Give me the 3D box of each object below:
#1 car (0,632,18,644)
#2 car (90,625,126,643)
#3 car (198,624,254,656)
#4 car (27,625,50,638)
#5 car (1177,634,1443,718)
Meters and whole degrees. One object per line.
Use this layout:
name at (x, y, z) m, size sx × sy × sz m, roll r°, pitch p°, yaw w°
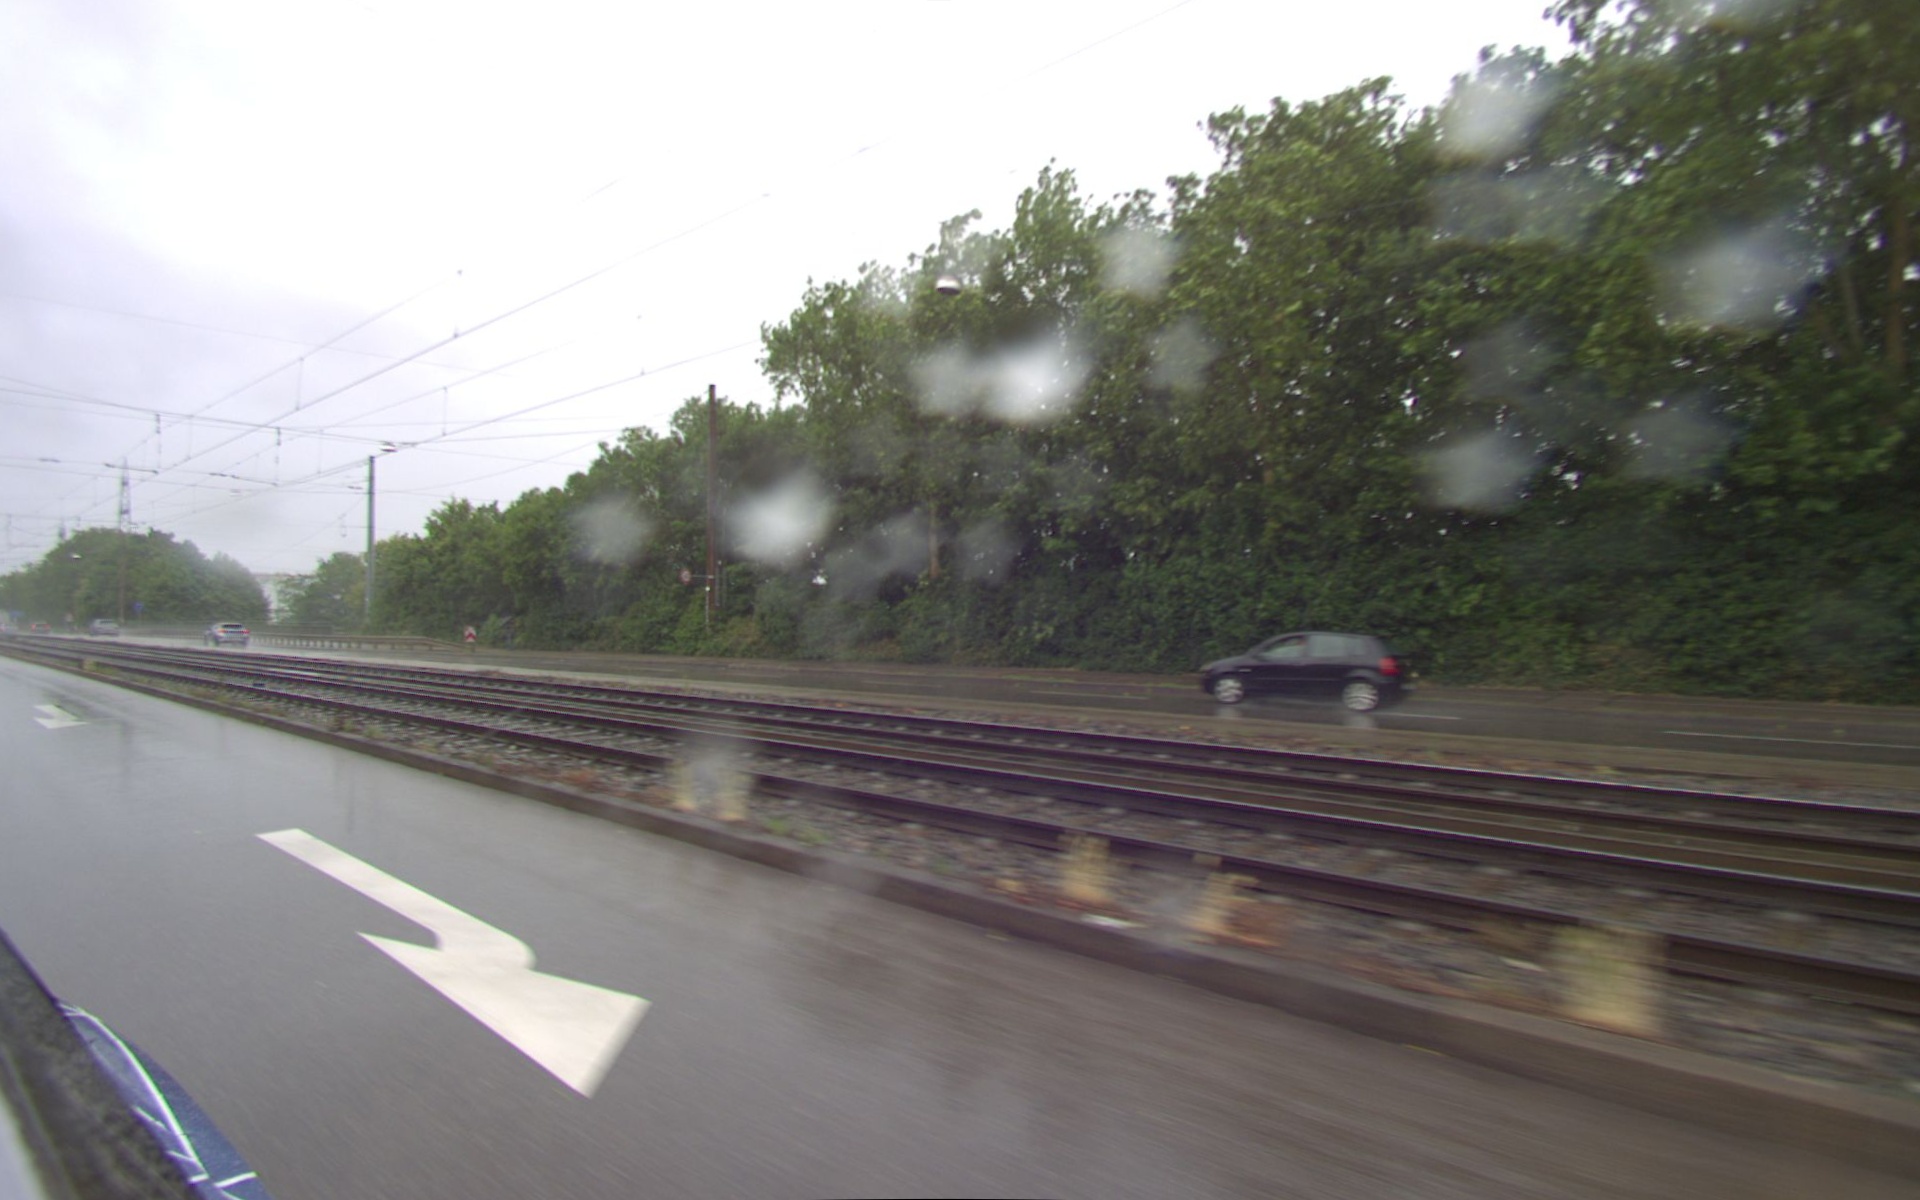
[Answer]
car at (-117.209, 4.686, 124.082) m, size 4.851 × 1.399 × 1.972 m, roll -2°, pitch -2°, yaw 42°
car at (-80.917, 3.233, 96.072) m, size 4.870 × 1.685 × 1.972 m, roll -2°, pitch -2°, yaw 42°
car at (-46.146, 2.493, 63.589) m, size 3.999 × 1.796 × 1.973 m, roll -2°, pitch 3°, yaw 42°
car at (-118.185, 4.006, 129.826) m, size 4.385 × 1.586 × 1.821 m, roll -1°, pitch -1°, yaw 43°
car at (6.431, 1.336, 18.898) m, size 4.378 × 1.340 × 1.753 m, roll -1°, pitch -1°, yaw 42°
